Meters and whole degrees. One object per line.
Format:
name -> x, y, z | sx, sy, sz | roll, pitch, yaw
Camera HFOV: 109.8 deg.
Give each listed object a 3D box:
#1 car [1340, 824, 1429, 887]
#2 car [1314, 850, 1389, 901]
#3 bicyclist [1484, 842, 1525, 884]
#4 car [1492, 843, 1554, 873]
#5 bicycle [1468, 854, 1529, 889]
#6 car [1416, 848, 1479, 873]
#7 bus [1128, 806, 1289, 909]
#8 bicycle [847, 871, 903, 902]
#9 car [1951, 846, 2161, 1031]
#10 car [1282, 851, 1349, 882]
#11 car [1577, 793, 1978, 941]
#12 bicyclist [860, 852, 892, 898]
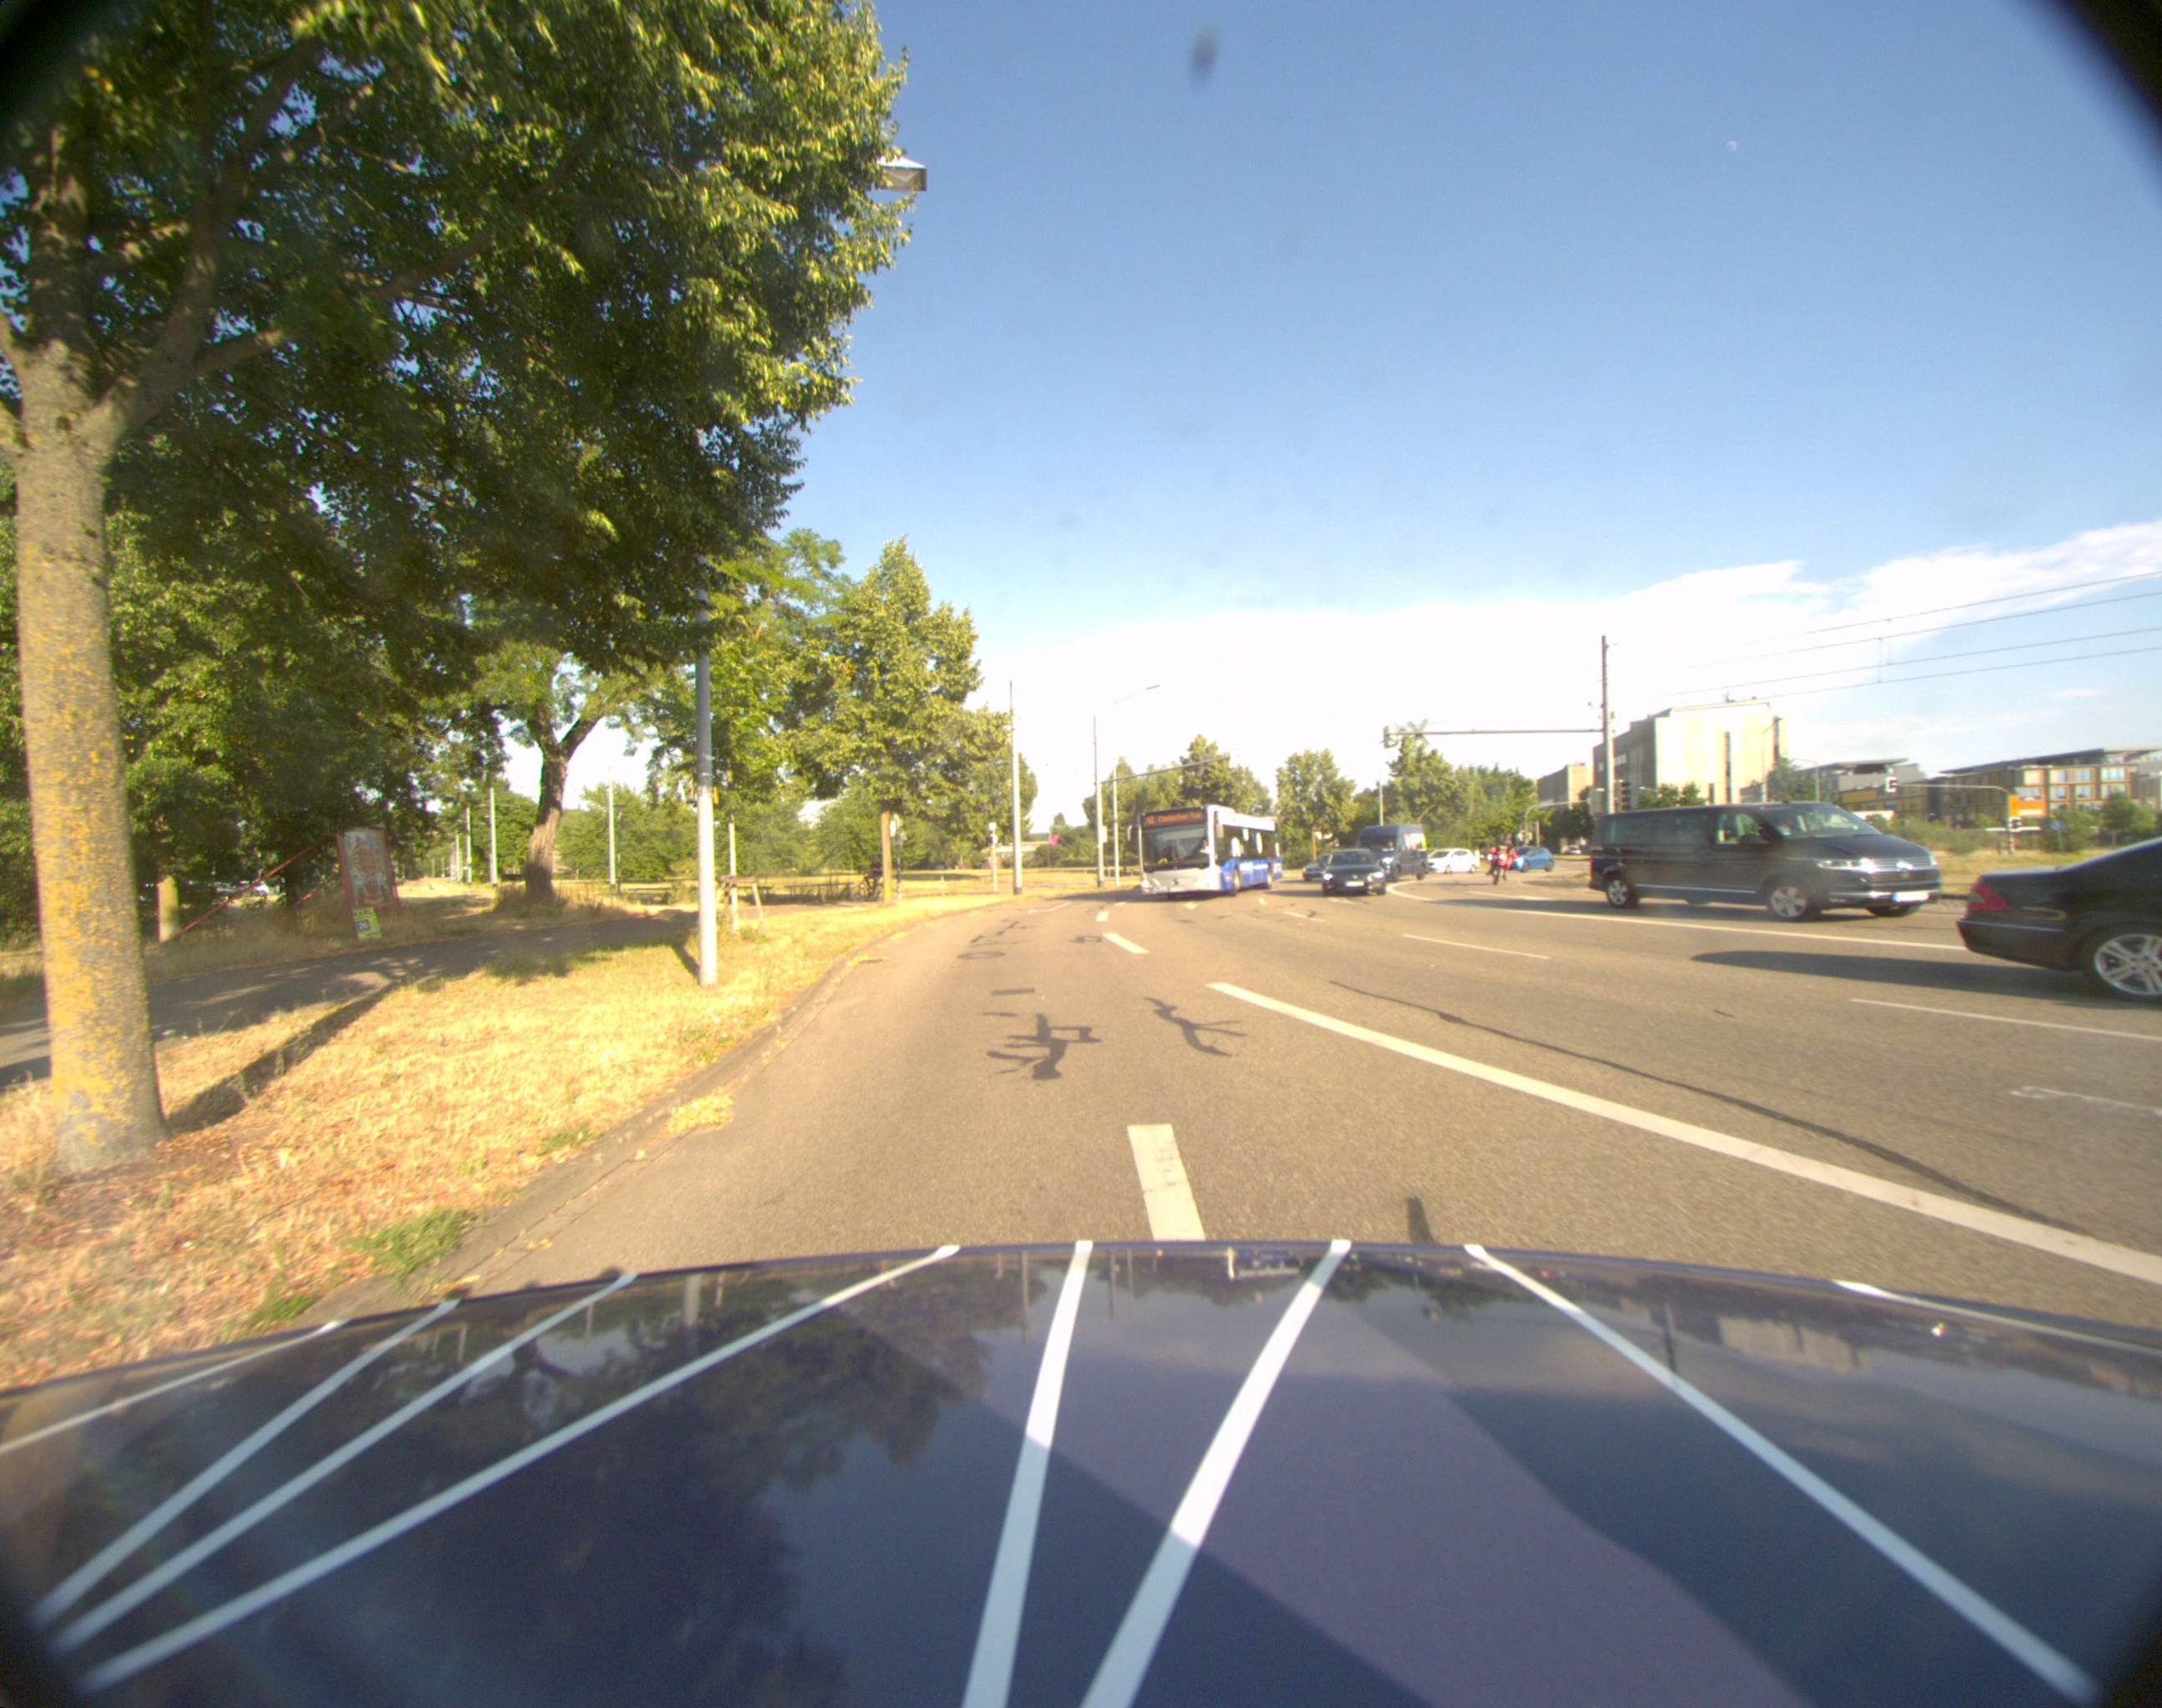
car -> 13.688, 0.067, 34.068 | 1.995, 2.578, 5.497 | -3, -2, 40
car -> 8.498, 0.629, 24.193 | 1.808, 1.428, 4.392 | -2, 0, 14
bicyclist -> 14.876, 0.320, 26.715 | 0.883, 1.377, 0.771 | -5, 1, -9
car -> 25.930, 0.199, 44.501 | 4.008, 1.652, 1.866 | -2, 1, -40
bicycle -> 14.827, 0.604, 27.062 | 0.820, 1.177, 2.029 | -1, 0, -10
car -> 23.475, 0.387, 48.632 | 4.006, 1.508, 1.678 | -1, 1, -30
bus -> 5.309, 0.055, 28.590 | 2.660, 3.044, 12.199 | -2, 0, 25
bicycle -> -8.205, 1.292, 30.304 | 0.639, 1.116, 2.129 | -1, 0, 40
car -> 9.499, 0.604, 4.946 | 1.845, 1.398, 4.692 | -1, -1, -22
car -> 12.532, 0.628, 40.460 | 1.994, 1.515, 4.008 | -1, 0, 39
car -> 11.649, 0.180, 13.435 | 2.094, 2.035, 5.242 | -2, 0, -3
bicyclist -> -8.188, 0.830, 30.322 | 0.726, 1.790, 0.940 | -1, 1, 40
